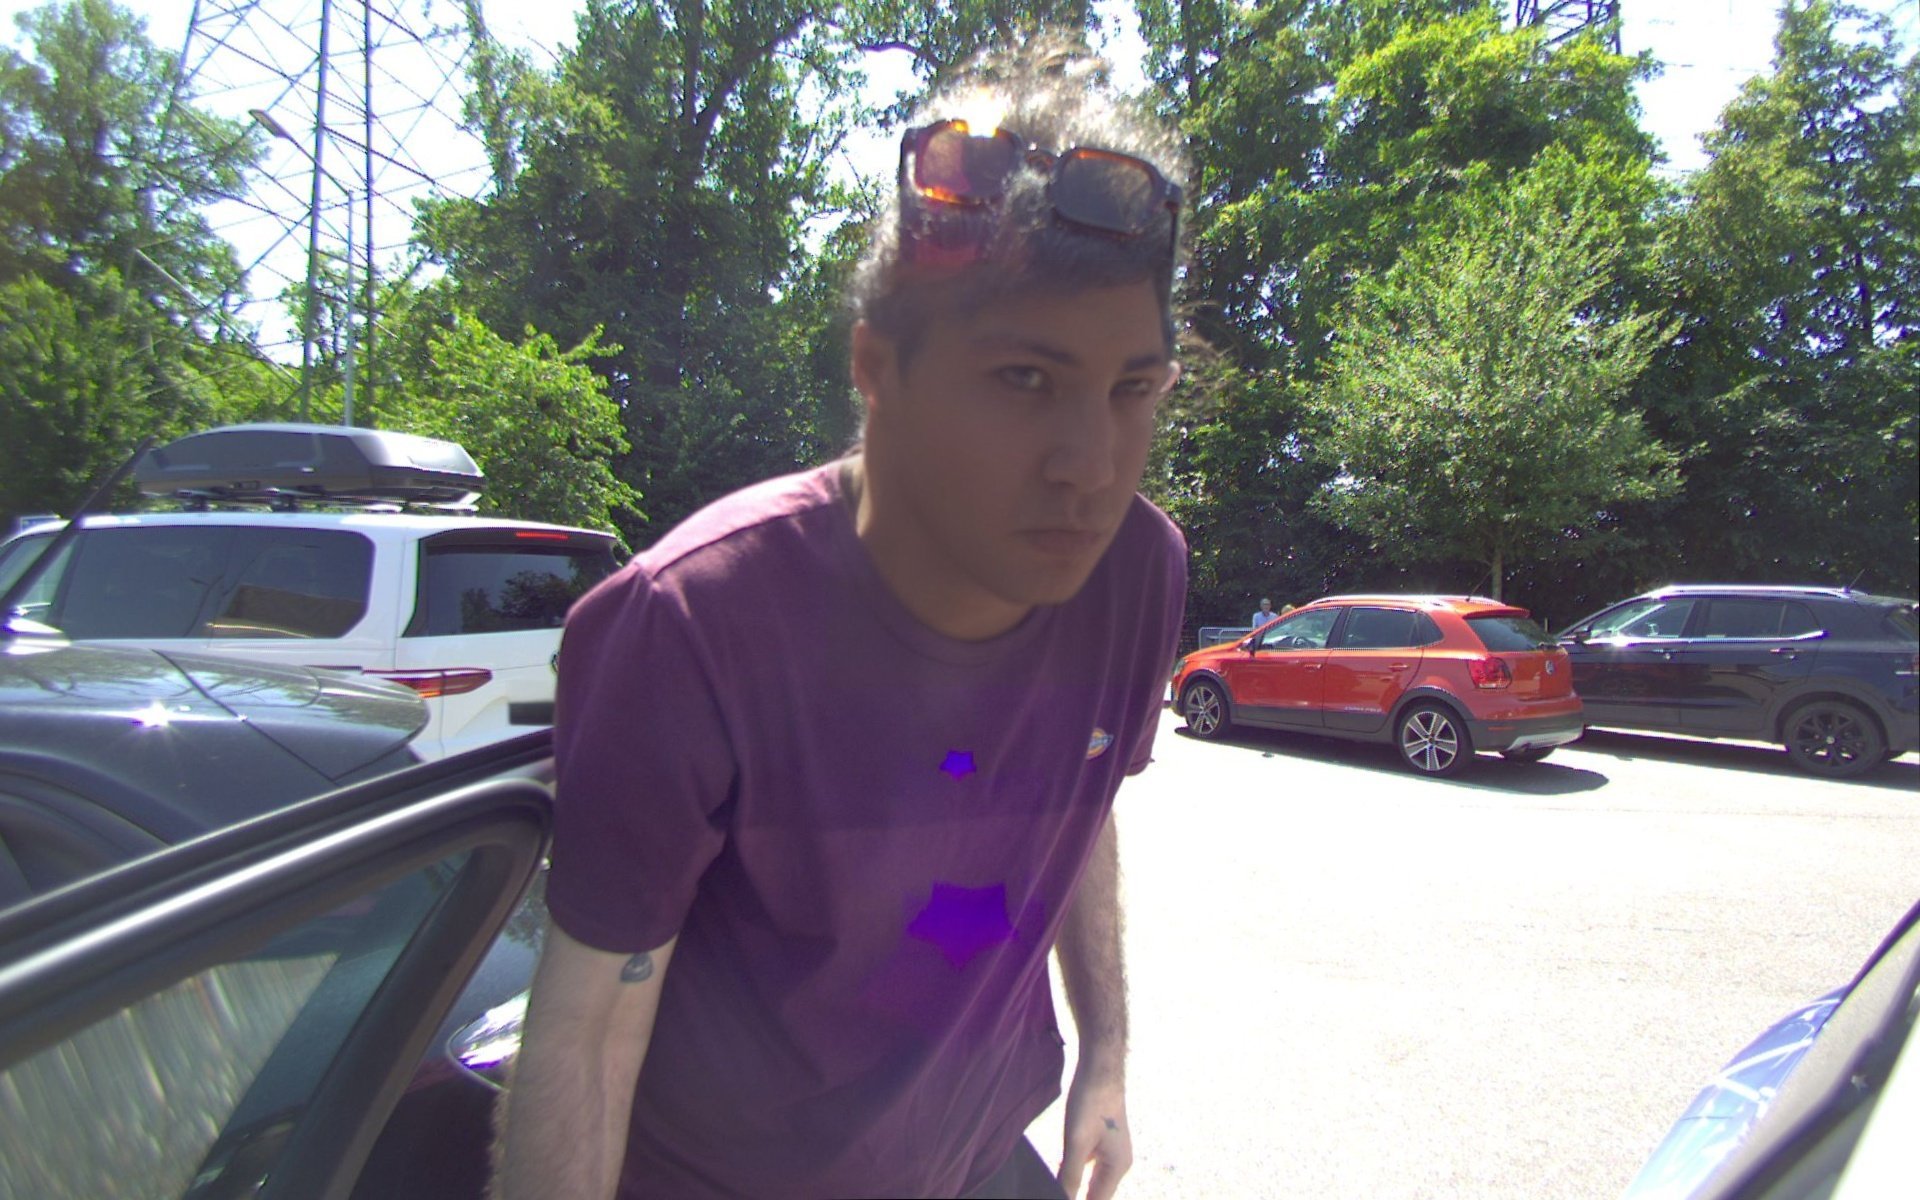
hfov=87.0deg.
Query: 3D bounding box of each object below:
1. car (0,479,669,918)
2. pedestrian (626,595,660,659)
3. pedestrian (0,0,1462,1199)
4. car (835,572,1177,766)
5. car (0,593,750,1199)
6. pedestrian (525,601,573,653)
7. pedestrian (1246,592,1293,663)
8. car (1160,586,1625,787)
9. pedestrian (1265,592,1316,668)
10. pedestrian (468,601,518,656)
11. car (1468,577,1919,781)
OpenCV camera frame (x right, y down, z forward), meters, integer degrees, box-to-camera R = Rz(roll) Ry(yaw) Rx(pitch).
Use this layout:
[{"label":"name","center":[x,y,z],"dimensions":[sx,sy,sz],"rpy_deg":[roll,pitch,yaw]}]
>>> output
[{"label":"car","center":[-4.231,0.400,6.110],"dimensions":[4.504,1.936,1.901],"rpy_deg":[1,1,19]},{"label":"pedestrian","center":[-6.655,0.556,21.269],"dimensions":[0.655,1.311,0.786],"rpy_deg":[0,0,-16]},{"label":"pedestrian","center":[-0.197,0.545,0.648],"dimensions":[0.874,1.865,0.621],"rpy_deg":[0,0,-38]},{"label":"car","center":[0.254,0.535,10.512],"dimensions":[1.713,1.601,3.996],"rpy_deg":[0,1,-29]},{"label":"car","center":[-2.205,0.726,0.593],"dimensions":[1.737,1.501,3.756],"rpy_deg":[0,-1,44]},{"label":"pedestrian","center":[-9.598,0.614,23.621],"dimensions":[0.873,1.192,0.668],"rpy_deg":[0,0,-41]},{"label":"pedestrian","center":[5.788,0.503,18.973],"dimensions":[0.657,1.311,0.783],"rpy_deg":[0,0,3]},{"label":"car","center":[3.854,0.625,9.641],"dimensions":[1.687,1.484,3.793],"rpy_deg":[0,1,-32]},{"label":"pedestrian","center":[5.781,0.513,17.740],"dimensions":[0.657,1.311,0.783],"rpy_deg":[0,0,3]},{"label":"pedestrian","center":[-10.514,0.626,22.766],"dimensions":[0.873,1.192,0.668],"rpy_deg":[0,0,-41]},{"label":"car","center":[7.180,0.589,9.700],"dimensions":[1.690,1.593,3.787],"rpy_deg":[0,1,-39]}]
